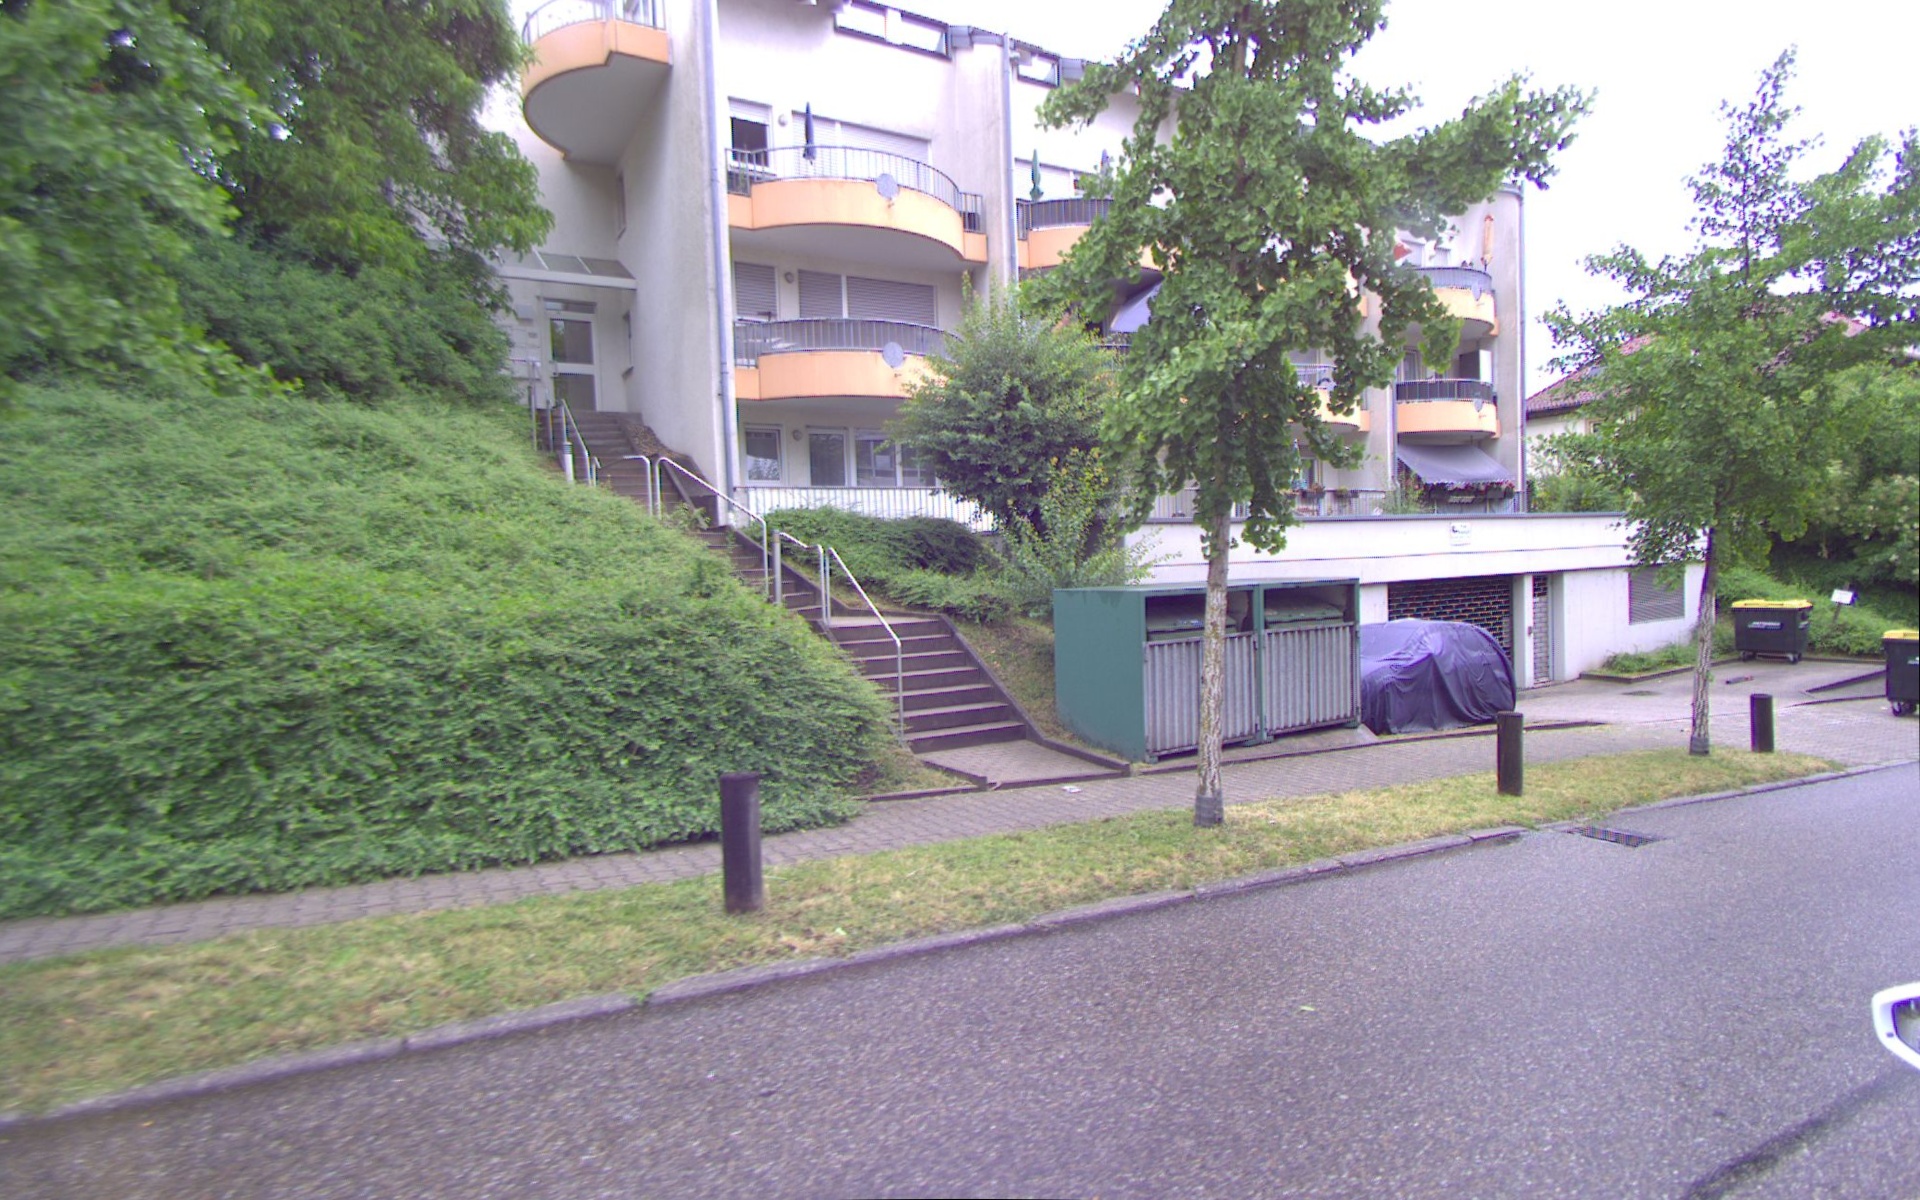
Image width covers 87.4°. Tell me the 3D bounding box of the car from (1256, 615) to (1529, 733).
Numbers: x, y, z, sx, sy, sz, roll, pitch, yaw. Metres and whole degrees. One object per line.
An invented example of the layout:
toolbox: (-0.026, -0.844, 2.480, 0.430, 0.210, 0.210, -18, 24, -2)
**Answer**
car: (6.207, 0.987, 14.313, 3.843, 1.475, 1.732, 1, -3, -34)

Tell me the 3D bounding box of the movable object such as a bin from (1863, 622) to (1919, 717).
movable object such as a bin: (14.816, 1.080, 15.446, 0.483, 1.406, 1.264, -1, 2, -32)

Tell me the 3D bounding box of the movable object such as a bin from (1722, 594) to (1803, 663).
movable object such as a bin: (17.475, 0.600, 21.891, 0.483, 1.406, 1.264, -1, 2, -32)
